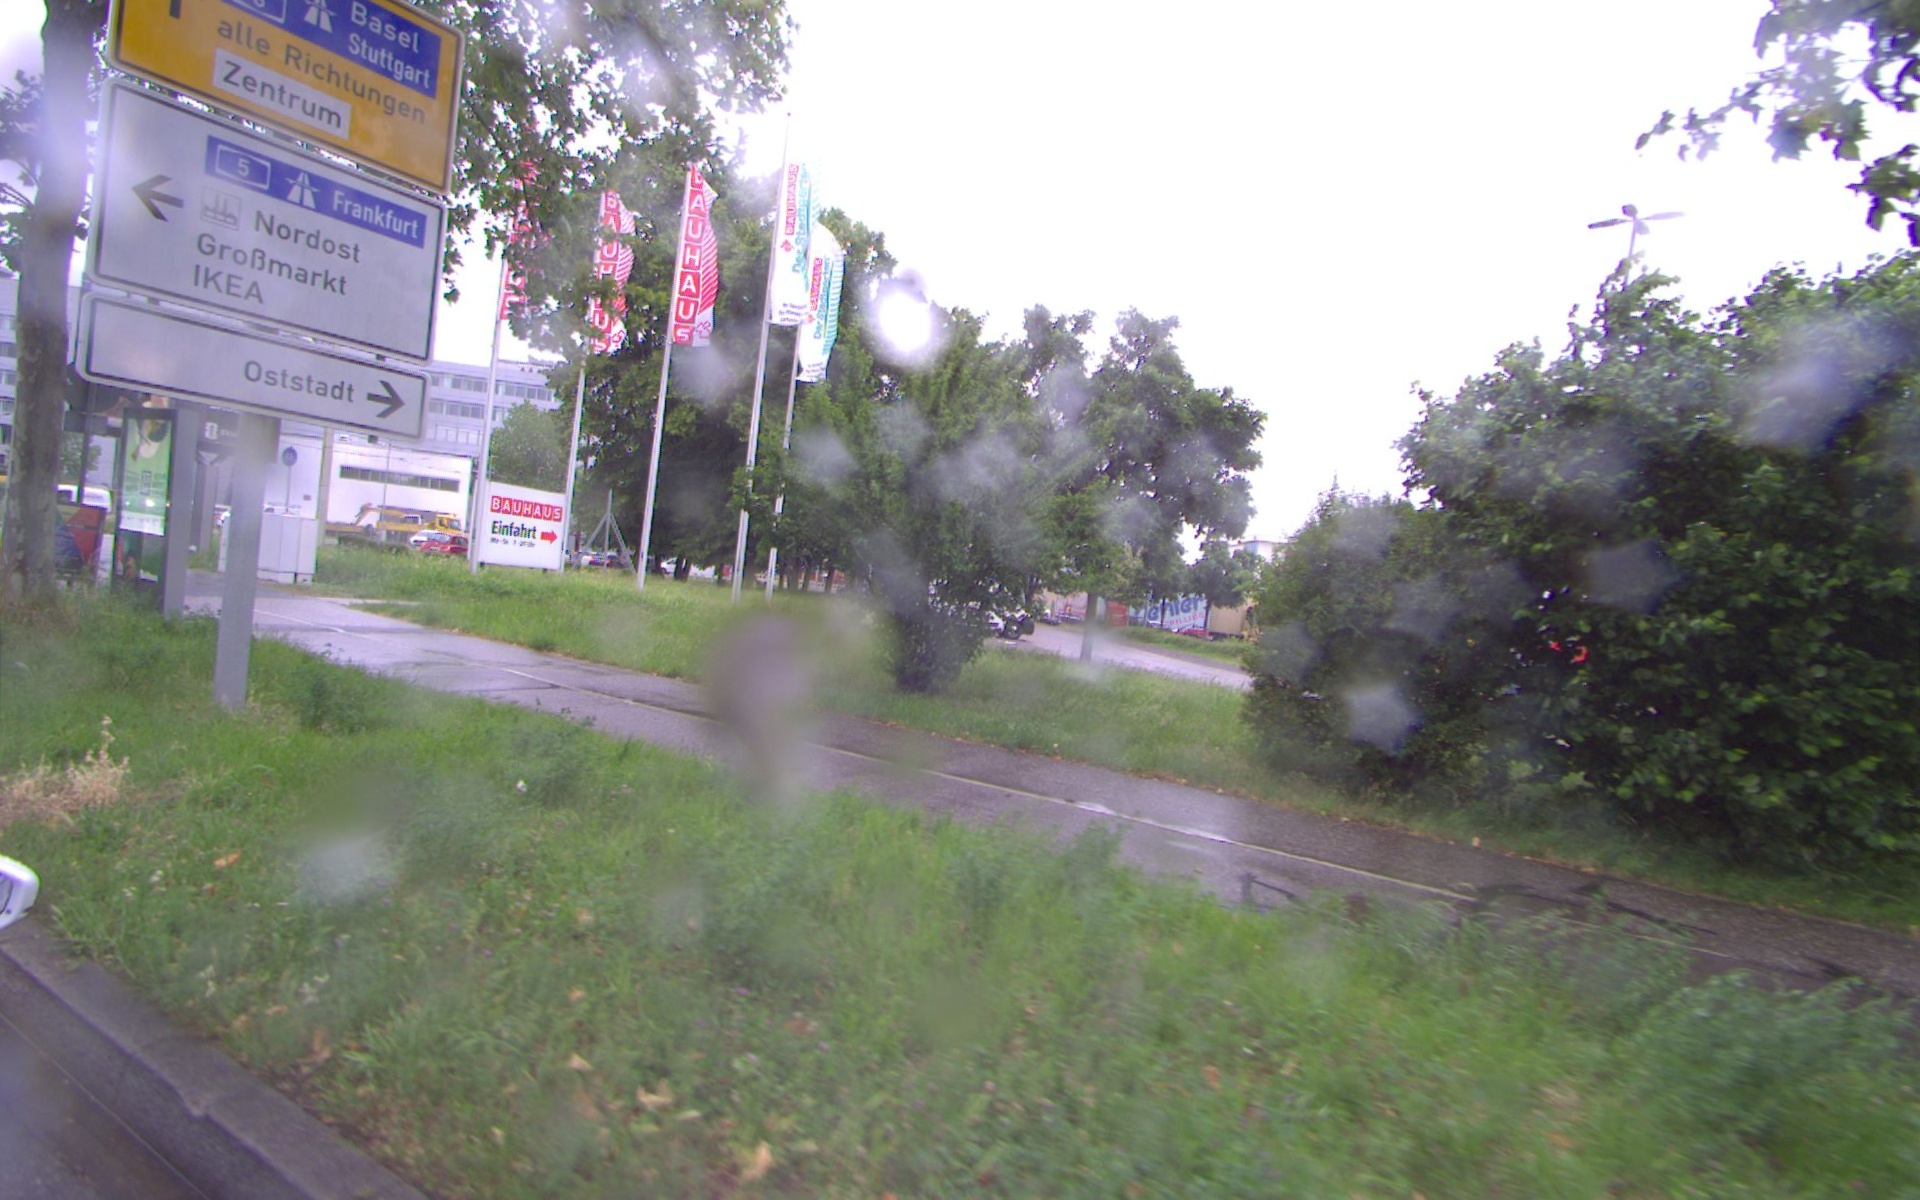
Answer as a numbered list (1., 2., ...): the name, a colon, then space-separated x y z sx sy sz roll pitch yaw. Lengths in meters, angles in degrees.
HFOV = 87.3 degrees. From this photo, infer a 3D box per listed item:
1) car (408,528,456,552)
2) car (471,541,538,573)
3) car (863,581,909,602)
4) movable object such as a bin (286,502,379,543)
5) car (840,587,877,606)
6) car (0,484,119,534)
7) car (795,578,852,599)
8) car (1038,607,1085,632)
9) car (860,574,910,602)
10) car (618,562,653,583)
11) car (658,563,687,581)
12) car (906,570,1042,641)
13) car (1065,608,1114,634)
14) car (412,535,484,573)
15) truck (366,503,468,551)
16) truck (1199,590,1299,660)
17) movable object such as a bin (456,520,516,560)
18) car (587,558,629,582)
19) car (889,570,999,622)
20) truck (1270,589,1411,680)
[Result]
1. car: -44.072 -4.989 84.073 1.744 1.641 4.379 6 0 -3
2. car: -27.514 -2.569 60.976 1.892 1.509 4.828 6 0 -2
3. car: -7.625 -0.837 103.225 4.545 1.606 1.925 6 0 -7
4. movable object such as a bin: -60.195 -7.417 96.685 6.601 3.034 3.325 6 1 -4
5. car: -10.723 -0.368 106.373 3.749 1.509 1.677 7 0 -5
6. car: -45.816 -4.578 51.156 1.709 1.746 4.245 7 -1 22
7. car: -15.007 -1.251 110.765 5.853 1.753 2.276 6 1 -3
8. car: 10.754 2.079 106.549 4.612 2.038 2.001 7 -1 3
9. car: -7.439 -1.165 100.294 4.670 2.241 1.964 6 1 -2
10. car: -29.564 -2.491 91.820 1.893 1.606 4.622 6 0 -4
11. car: -30.379 -2.919 106.552 1.892 1.606 4.623 6 0 -4
12. car: 0.504 0.216 40.619 5.015 2.232 2.188 6 1 -9
13. car: 13.022 2.127 101.363 4.612 2.038 2.001 7 -1 3
14. car: -26.965 -2.393 53.091 1.647 1.508 3.818 7 -1 1
15. truck: -52.278 -6.966 97.014 7.747 3.552 3.325 6 1 -4
16. truck: 16.985 1.429 59.943 2.507 3.511 9.397 8 -1 -2
17. movable object such as a bin: -49.789 -6.244 105.833 3.268 3.552 6.316 6 1 -3
18. car: -28.762 -2.441 82.240 1.892 1.606 4.622 6 0 -3
19. car: -0.934 -0.237 57.346 5.955 2.232 2.190 6 1 -2
20. truck: 17.176 1.405 46.116 2.507 3.513 8.008 8 0 -4
